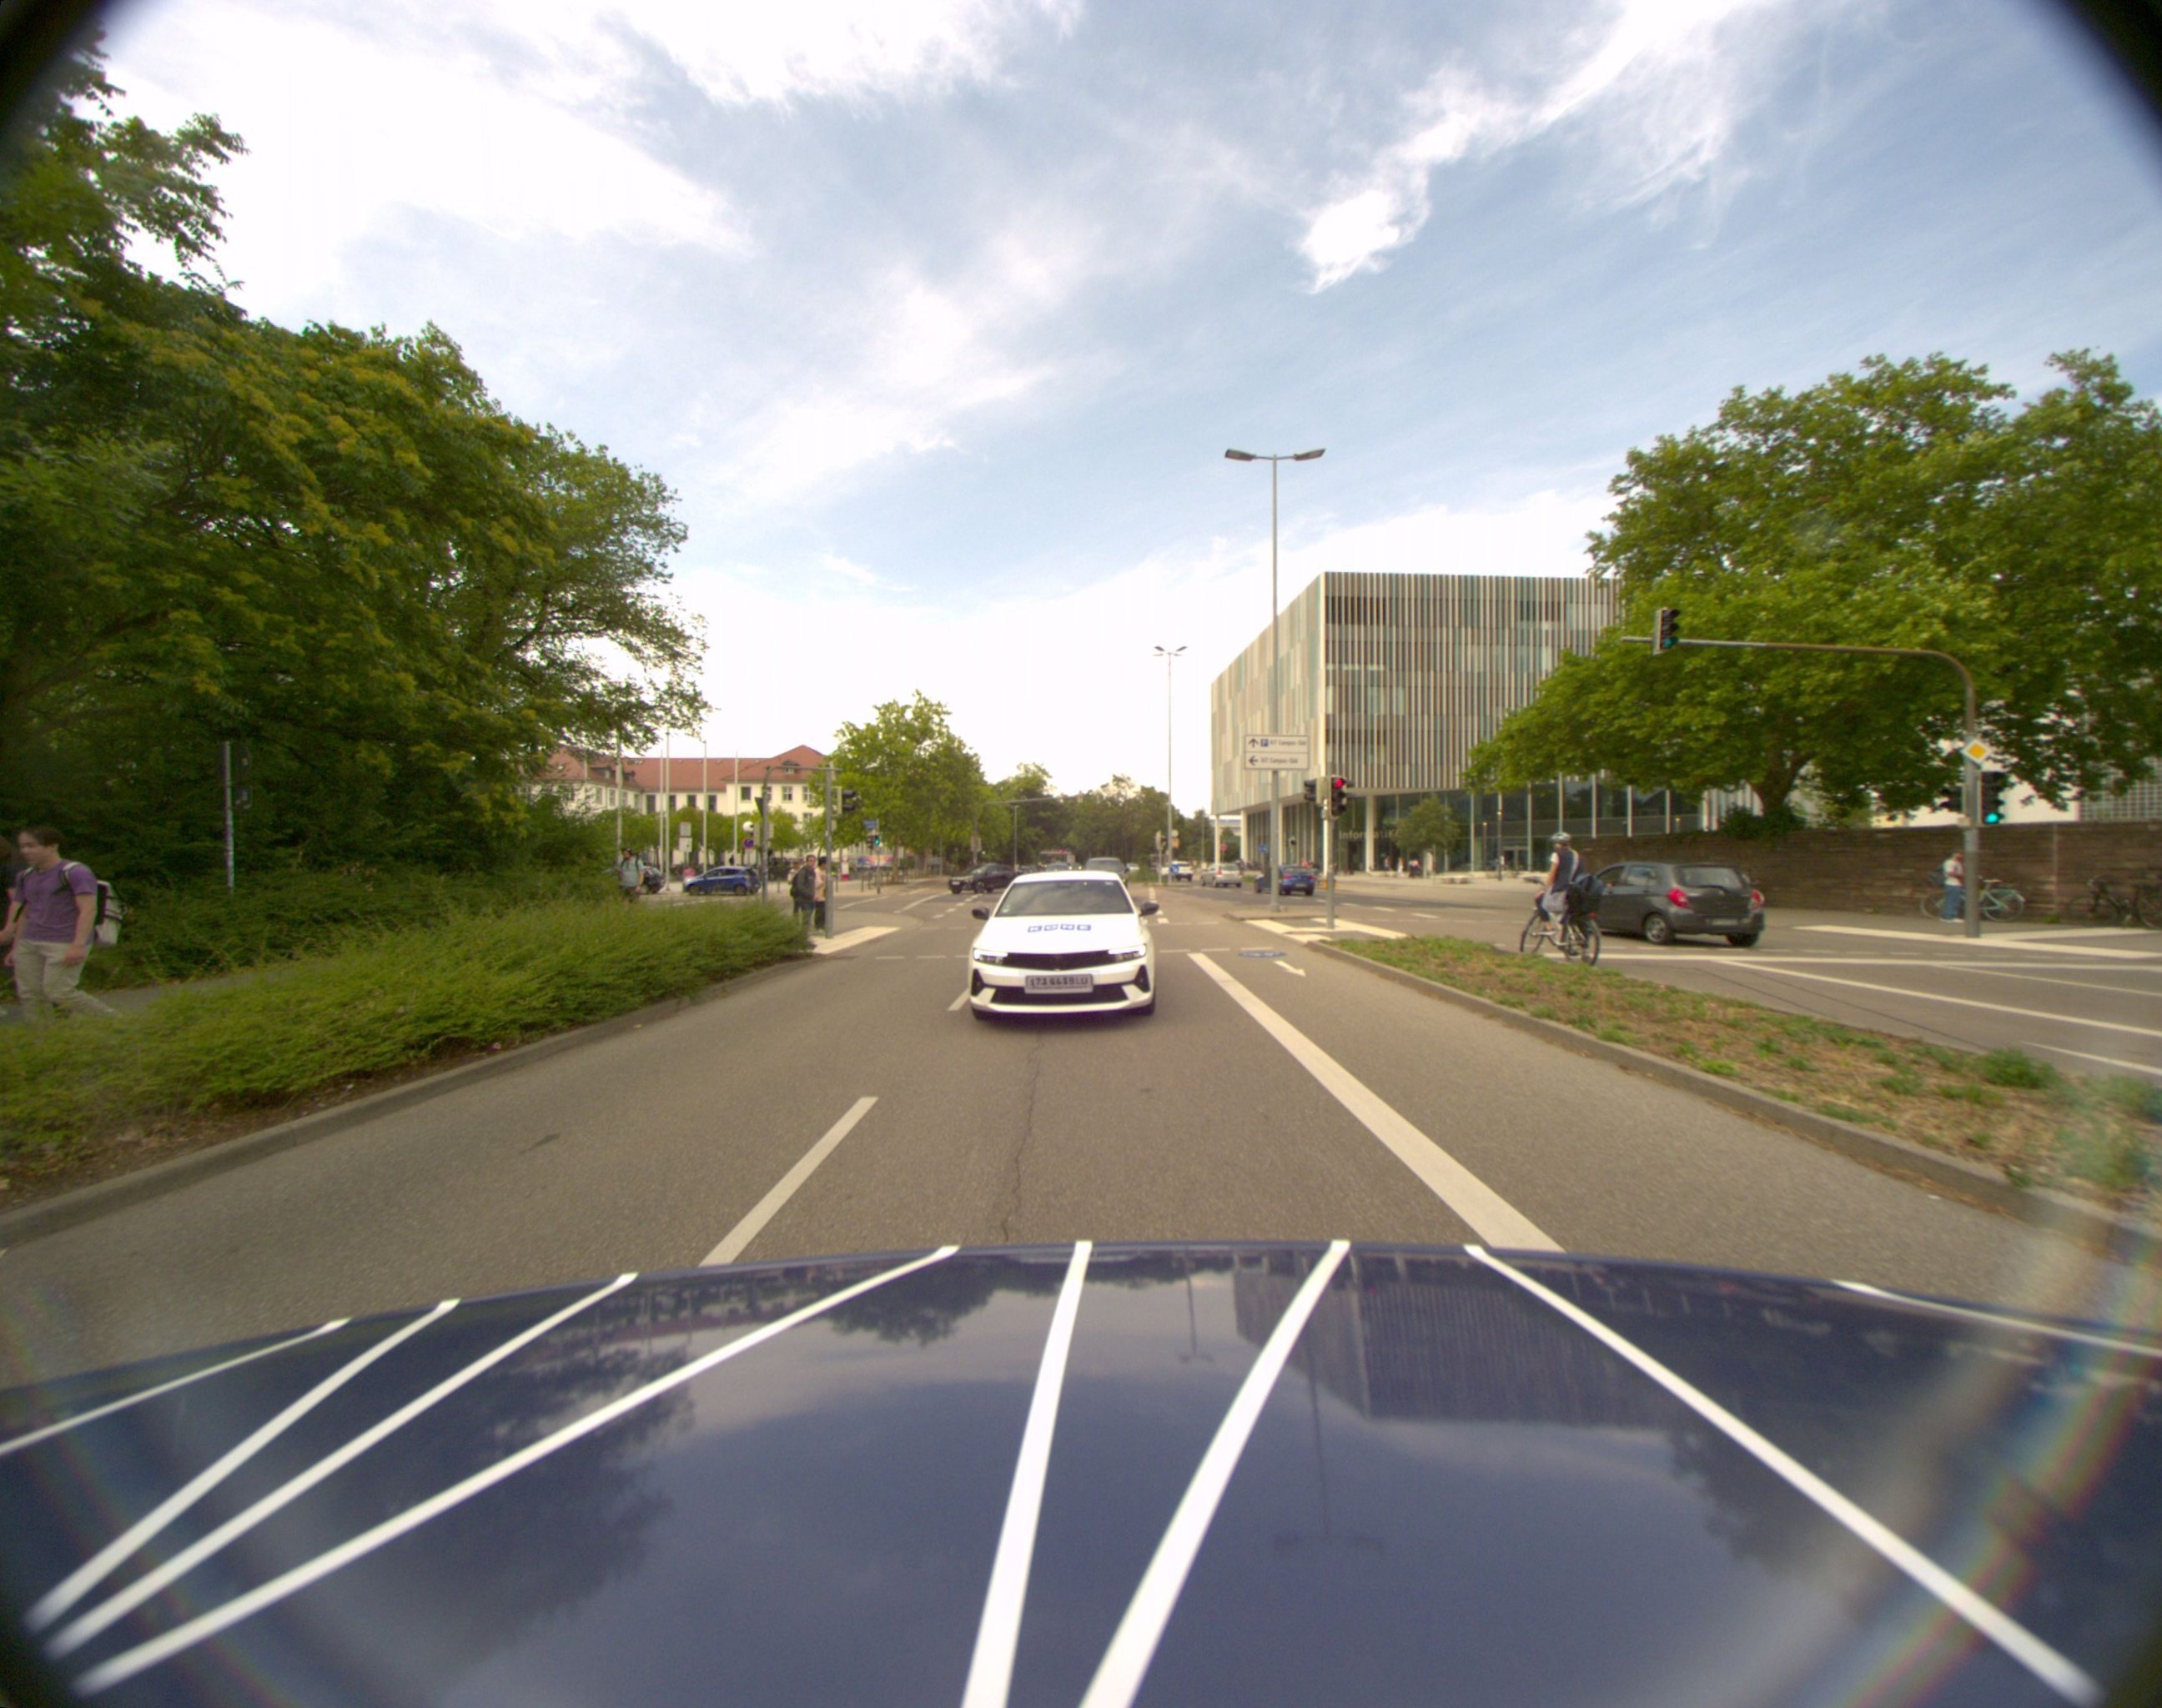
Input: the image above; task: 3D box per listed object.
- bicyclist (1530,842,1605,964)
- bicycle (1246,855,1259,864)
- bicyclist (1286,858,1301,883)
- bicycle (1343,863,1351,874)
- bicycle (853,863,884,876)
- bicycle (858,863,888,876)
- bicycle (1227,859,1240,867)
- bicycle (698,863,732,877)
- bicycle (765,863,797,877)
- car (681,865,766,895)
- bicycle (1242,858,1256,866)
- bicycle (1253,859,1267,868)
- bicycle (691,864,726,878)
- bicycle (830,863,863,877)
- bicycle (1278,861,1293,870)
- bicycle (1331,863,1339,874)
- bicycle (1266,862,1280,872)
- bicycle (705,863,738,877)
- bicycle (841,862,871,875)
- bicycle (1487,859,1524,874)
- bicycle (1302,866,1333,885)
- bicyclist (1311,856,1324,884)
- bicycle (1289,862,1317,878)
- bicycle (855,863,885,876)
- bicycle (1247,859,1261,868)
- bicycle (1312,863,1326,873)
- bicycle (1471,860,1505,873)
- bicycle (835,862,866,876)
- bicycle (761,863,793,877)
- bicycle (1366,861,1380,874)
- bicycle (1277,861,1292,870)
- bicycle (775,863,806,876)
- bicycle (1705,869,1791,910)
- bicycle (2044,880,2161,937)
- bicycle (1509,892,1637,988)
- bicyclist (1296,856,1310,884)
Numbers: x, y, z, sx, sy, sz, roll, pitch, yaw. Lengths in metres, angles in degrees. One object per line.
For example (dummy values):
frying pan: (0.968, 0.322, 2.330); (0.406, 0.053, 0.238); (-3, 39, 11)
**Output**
bicyclist: (6.458, 0.627, 10.113); (0.573, 1.564, 0.699); (0, 0, 5)
bicycle: (21.522, 0.697, 95.500); (1.582, 1.017, 0.389); (2, 1, -8)
bicyclist: (14.504, 1.110, 51.869); (0.729, 1.663, 0.723); (-2, 1, -16)
bicycle: (24.173, 1.321, 69.074); (0.393, 0.932, 1.601); (-2, 0, 31)
bicycle: (-18.878, 1.365, 67.552); (2.472, 1.136, 0.717); (0, 0, -1)
bicycle: (-18.966, 1.394, 69.305); (2.472, 1.136, 0.717); (0, 0, -1)
bicycle: (21.074, 1.261, 105.212); (1.704, 1.017, 0.434); (-2, 1, -8)
bicycle: (-31.017, 1.388, 64.416); (2.472, 1.136, 0.717); (0, 0, -1)
bicycle: (-25.864, 1.388, 65.463); (2.472, 1.136, 0.717); (0, 0, -1)
car: (-18.578, 1.332, 39.606); (3.581, 1.483, 1.674); (-1, 1, -3)
bicycle: (21.406, 0.991, 96.767); (1.582, 1.017, 0.389); (-2, 1, -8)
bicycle: (21.708, 1.189, 92.239); (1.582, 1.017, 0.389); (-2, 1, -8)
bicycle: (-30.983, 1.391, 63.219); (2.472, 1.136, 0.717); (0, 0, -1)
bicycle: (-19.523, 1.293, 63.303); (2.472, 1.136, 0.717); (0, 0, -1)
bicycle: (22.317, 1.241, 82.773); (1.546, 0.932, 0.389); (-2, 1, -8)
bicycle: (23.333, 1.328, 69.793); (0.393, 0.932, 1.601); (-2, 0, 31)
bicycle: (22.120, 1.515, 87.517); (1.582, 1.017, 0.389); (-2, 1, -8)
bicycle: (-31.066, 1.383, 65.737); (2.472, 1.136, 0.717); (0, 0, -1)
bicycle: (-19.691, 1.257, 66.515); (2.472, 1.136, 0.717); (0, 0, -1)
bicycle: (32.331, 0.936, 57.885); (2.685, 1.083, 0.796); (0, 0, -18)
bicycle: (15.139, 1.391, 48.558); (1.897, 1.163, 0.606); (0, 0, -17)
bicyclist: (15.090, 1.028, 48.523); (0.602, 1.796, 0.561); (0, 0, -18)
bicycle: (14.599, 1.078, 50.009); (1.693, 0.983, 0.571); (-2, 1, -16)
bicycle: (-18.978, 1.399, 68.469); (2.472, 1.136, 0.717); (0, 0, -1)
bicycle: (21.574, 1.219, 94.836); (1.582, 1.017, 0.389); (-2, 1, -8)
bicycle: (22.463, 1.329, 71.691); (1.613, 0.932, 0.393); (-2, 1, -36)
bicycle: (31.838, 0.982, 59.399); (2.685, 0.993, 0.672); (0, 0, -18)
bicycle: (-19.638, 1.251, 64.730); (2.472, 1.136, 0.717); (0, 0, -1)
bicycle: (-25.846, 1.354, 64.631); (2.472, 1.136, 0.717); (0, 0, -1)
bicycle: (25.776, 1.201, 67.018); (1.549, 1.023, 0.393); (-2, 1, -40)
bicycle: (21.960, 1.260, 82.045); (1.546, 0.932, 0.394); (-2, 1, -8)
bicycle: (-25.923, 1.383, 67.894); (2.472, 1.136, 0.717); (0, 0, -1)
bicycle: (20.416, 1.065, 23.318); (0.579, 1.119, 2.164); (-3, 0, -4)
bicycle: (21.398, 1.103, 15.603); (0.550, 1.052, 1.980); (-3, 0, -6)
bicycle: (6.427, 1.079, 10.058); (0.574, 1.049, 1.927); (0, 0, 4)
bicyclist: (14.593, 1.055, 49.997); (0.602, 1.796, 0.561); (-2, 1, -16)
